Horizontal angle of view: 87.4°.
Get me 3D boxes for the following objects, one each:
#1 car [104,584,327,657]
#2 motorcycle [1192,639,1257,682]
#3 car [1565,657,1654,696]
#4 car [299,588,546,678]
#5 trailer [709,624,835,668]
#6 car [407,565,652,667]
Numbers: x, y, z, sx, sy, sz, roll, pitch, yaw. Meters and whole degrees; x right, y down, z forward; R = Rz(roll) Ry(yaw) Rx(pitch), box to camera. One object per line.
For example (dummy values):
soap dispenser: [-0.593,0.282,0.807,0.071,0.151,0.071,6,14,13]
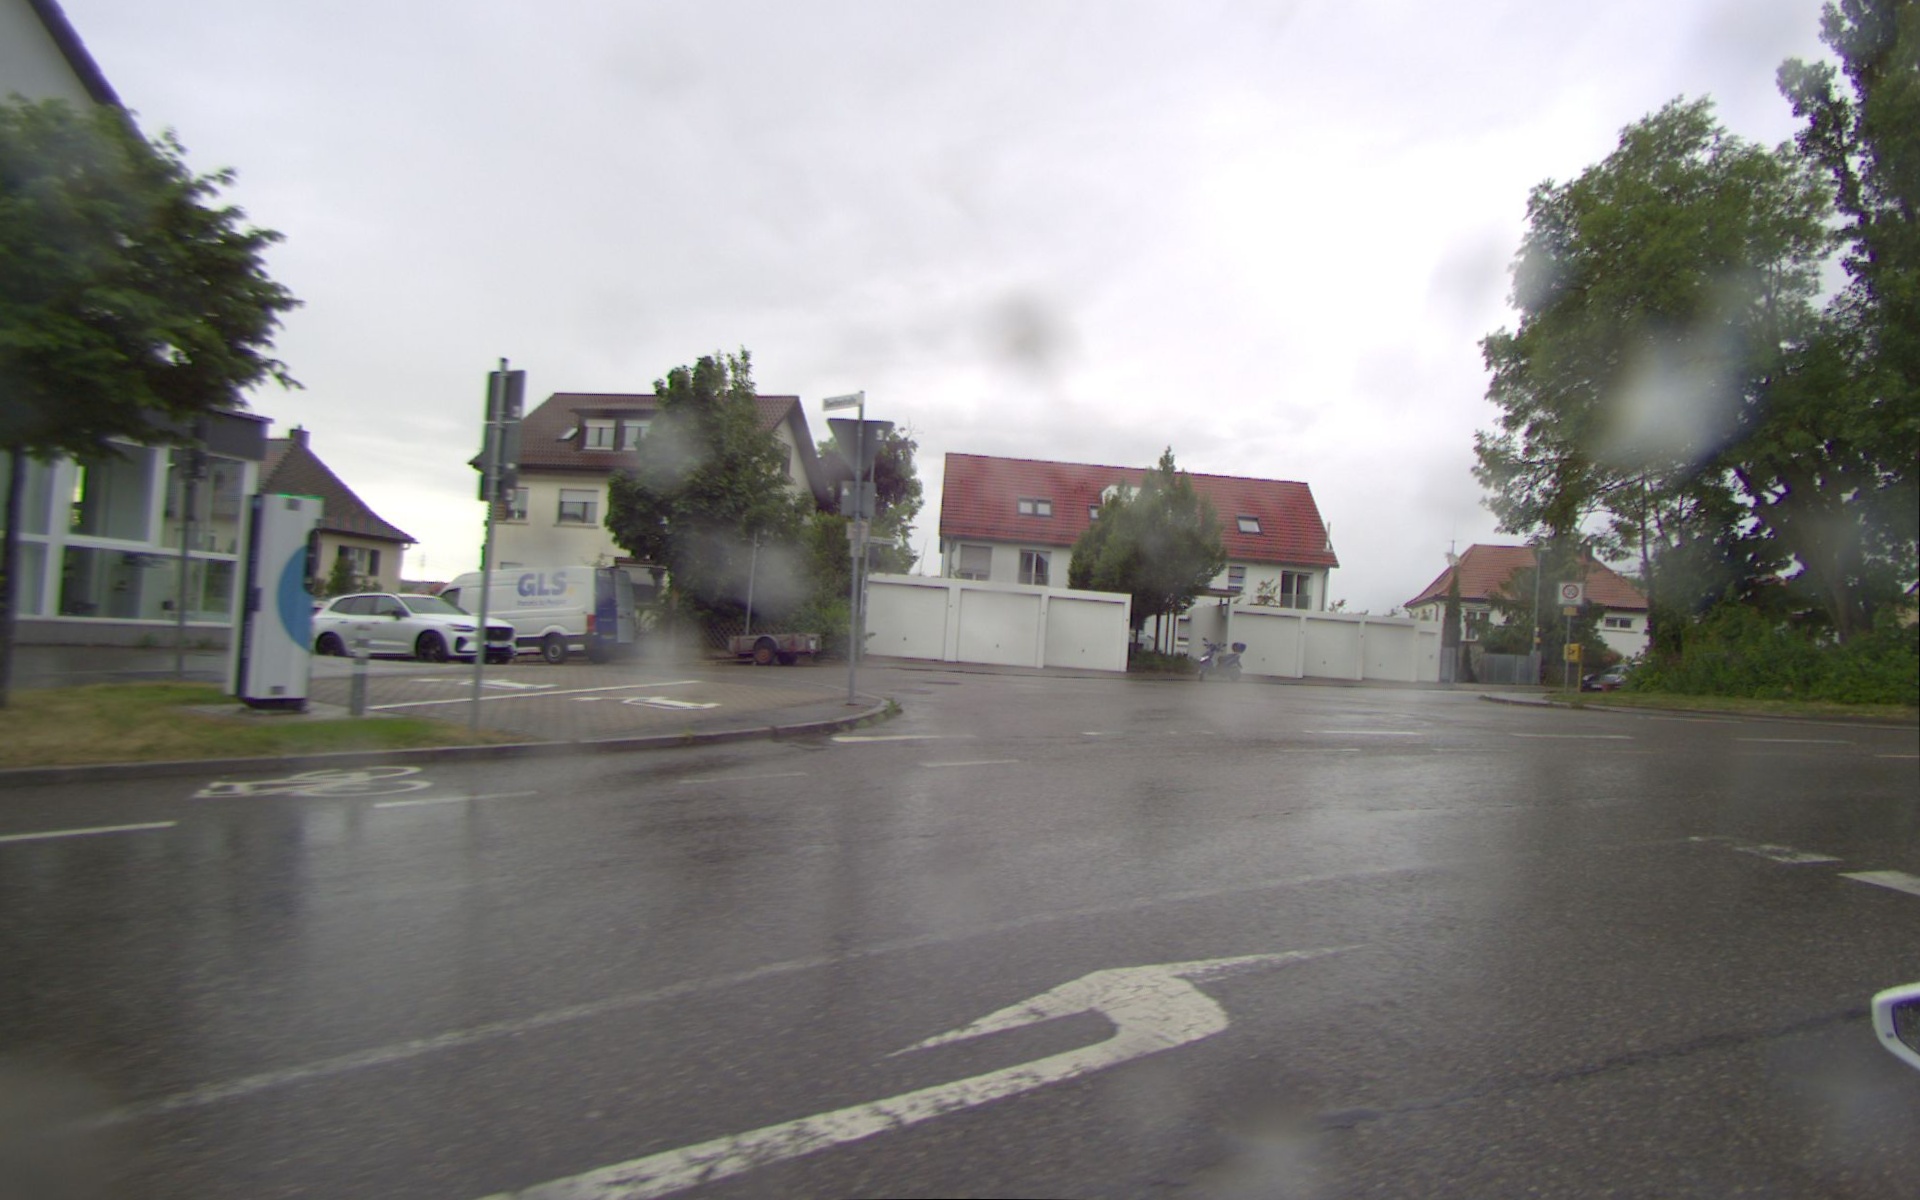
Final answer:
car: [-17.222,0.453,23.273,4.394,1.530,2.067,1,-1,20]
motorcycle: [8.429,1.921,31.976,2.018,1.339,0.704,2,-1,-25]
car: [27.941,3.246,43.201,3.963,1.528,1.979,2,-2,-37]
car: [-11.590,0.669,21.698,4.699,1.728,2.067,1,-1,20]
trailer: [-4.809,1.161,25.807,2.768,1.020,1.593,0,-1,23]
car: [-11.788,0.420,27.528,6.128,2.556,2.192,1,-1,17]
